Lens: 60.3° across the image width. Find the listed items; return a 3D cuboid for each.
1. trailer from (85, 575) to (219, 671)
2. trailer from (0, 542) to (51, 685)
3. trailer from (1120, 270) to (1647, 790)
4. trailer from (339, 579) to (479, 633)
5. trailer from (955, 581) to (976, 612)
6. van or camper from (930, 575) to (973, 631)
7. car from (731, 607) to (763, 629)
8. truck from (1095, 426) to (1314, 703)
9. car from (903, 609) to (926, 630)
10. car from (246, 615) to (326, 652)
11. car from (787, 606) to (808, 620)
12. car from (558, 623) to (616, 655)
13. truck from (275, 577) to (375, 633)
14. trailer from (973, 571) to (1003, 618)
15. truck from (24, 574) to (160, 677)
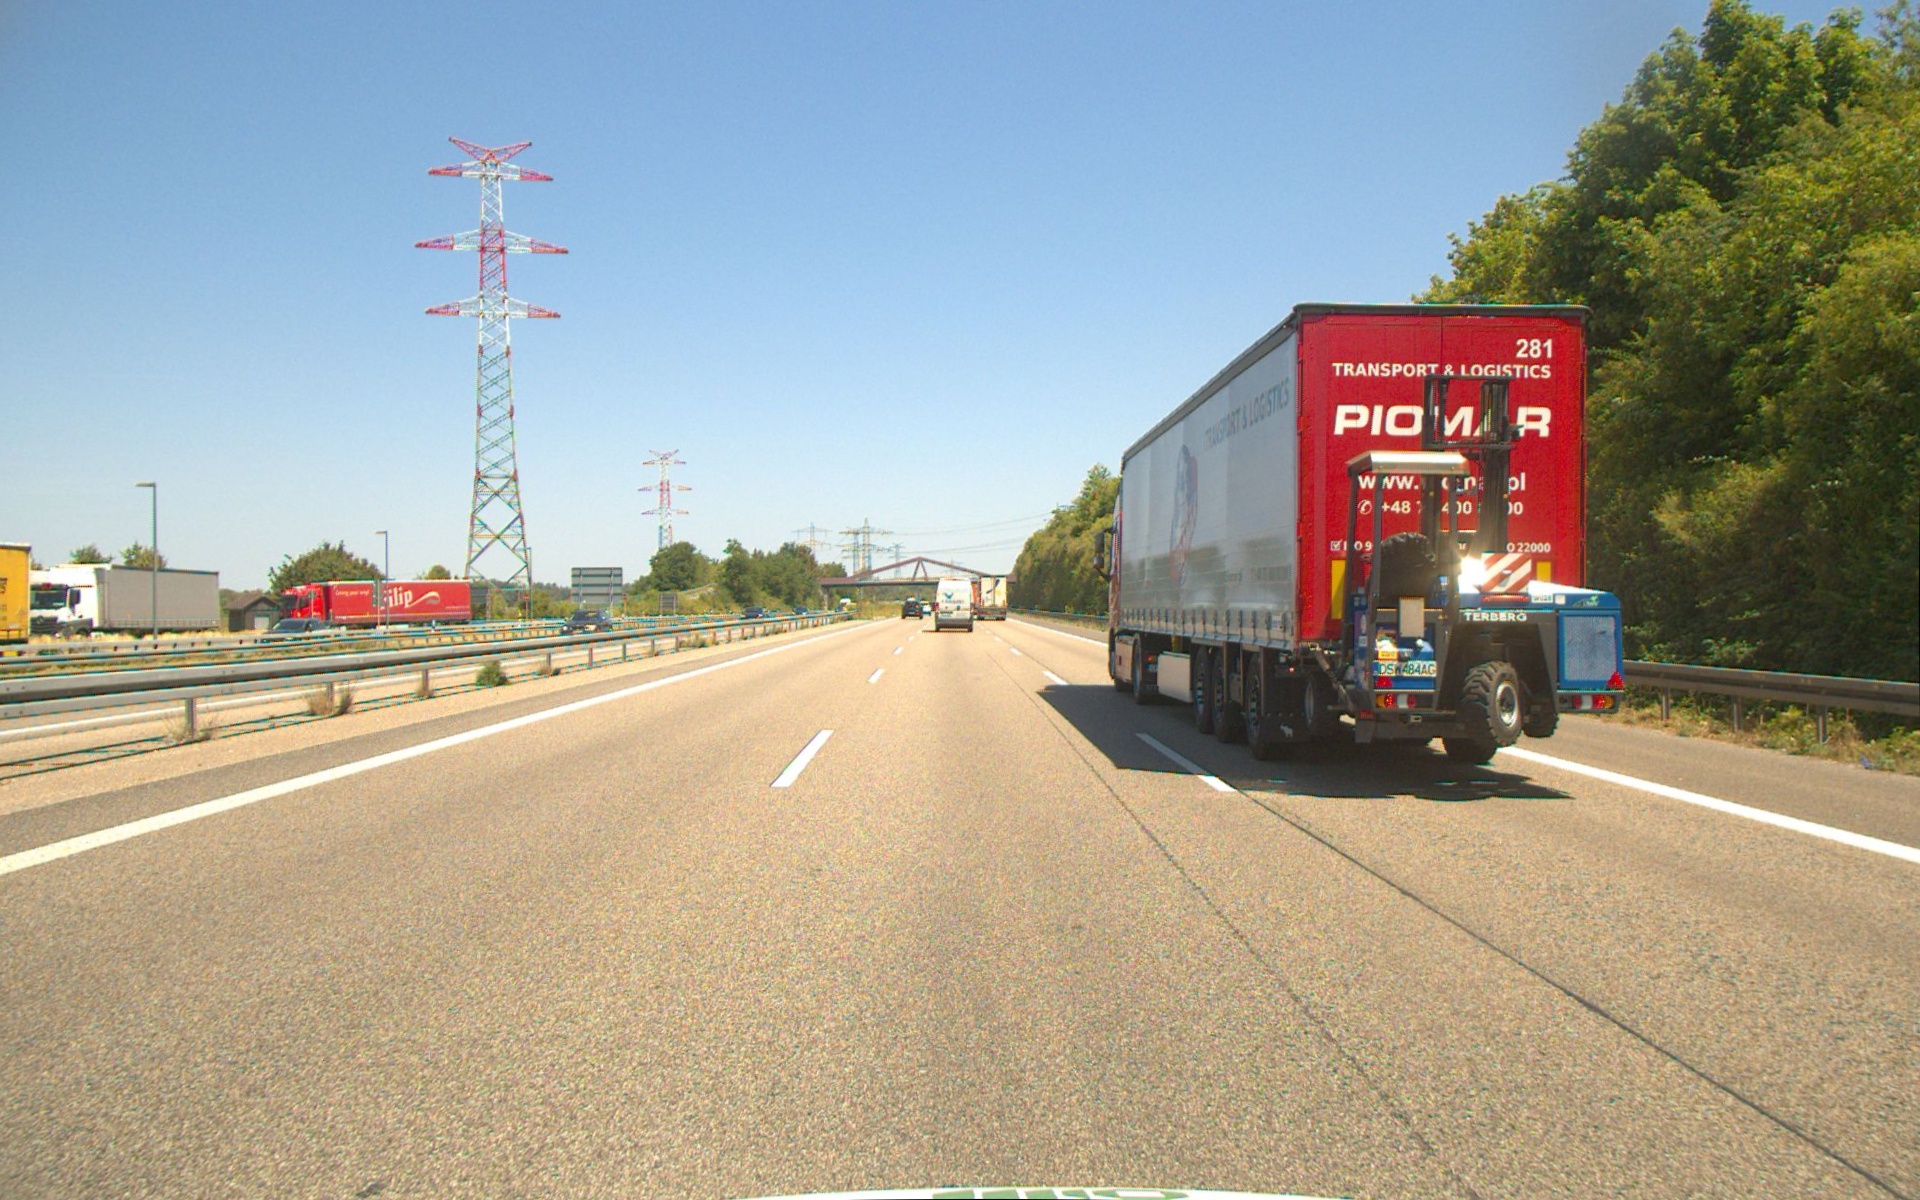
[{"bbox_3d":[-44.461,1.227,91.413,3.237,4.960,9.672,1,0,-5],"label":"trailer"},{"bbox_3d":[-30.263,0.372,47.131,2.776,4.293,11.079,1,0,-2],"label":"trailer"},{"bbox_3d":[3.953,-0.512,19.818,2.440,3.978,14.242,0,0,-1],"label":"trailer"},{"bbox_3d":[-44.668,0.547,134.626,3.066,4.126,11.280,1,0,33],"label":"trailer"},{"bbox_3d":[0.728,-0.405,220.593,2.583,3.965,7.068,1,0,0],"label":"trailer"},{"bbox_3d":[-0.456,0.152,88.085,2.185,2.831,5.422,1,0,-1],"label":"van or camper"},{"bbox_3d":[-17.257,1.449,134.187,1.932,1.675,5.015,1,0,-1],"label":"car"},{"bbox_3d":[3.823,-0.500,27.407,2.448,3.988,7.095,0,0,-1],"label":"truck"},{"bbox_3d":[-4.300,1.816,155.868,1.941,1.849,3.813,1,0,1],"label":"car"},{"bbox_3d":[-30.294,1.479,74.488,1.775,1.515,4.508,1,0,-1],"label":"car"},{"bbox_3d":[-17.965,1.385,182.632,1.831,1.422,4.545,-3,0,-1],"label":"car"},{"bbox_3d":[-17.540,1.822,77.961,1.706,1.298,4.317,-3,0,-1],"label":"car"},{"bbox_3d":[-49.000,0.420,127.719,3.063,4.120,6.625,1,0,33],"label":"truck"},{"bbox_3d":[2.612,-0.487,155.794,2.583,4.131,12.366,1,0,0],"label":"trailer"},{"bbox_3d":[-43.837,1.232,83.866,3.237,4.935,7.617,1,0,-5],"label":"truck"}]
